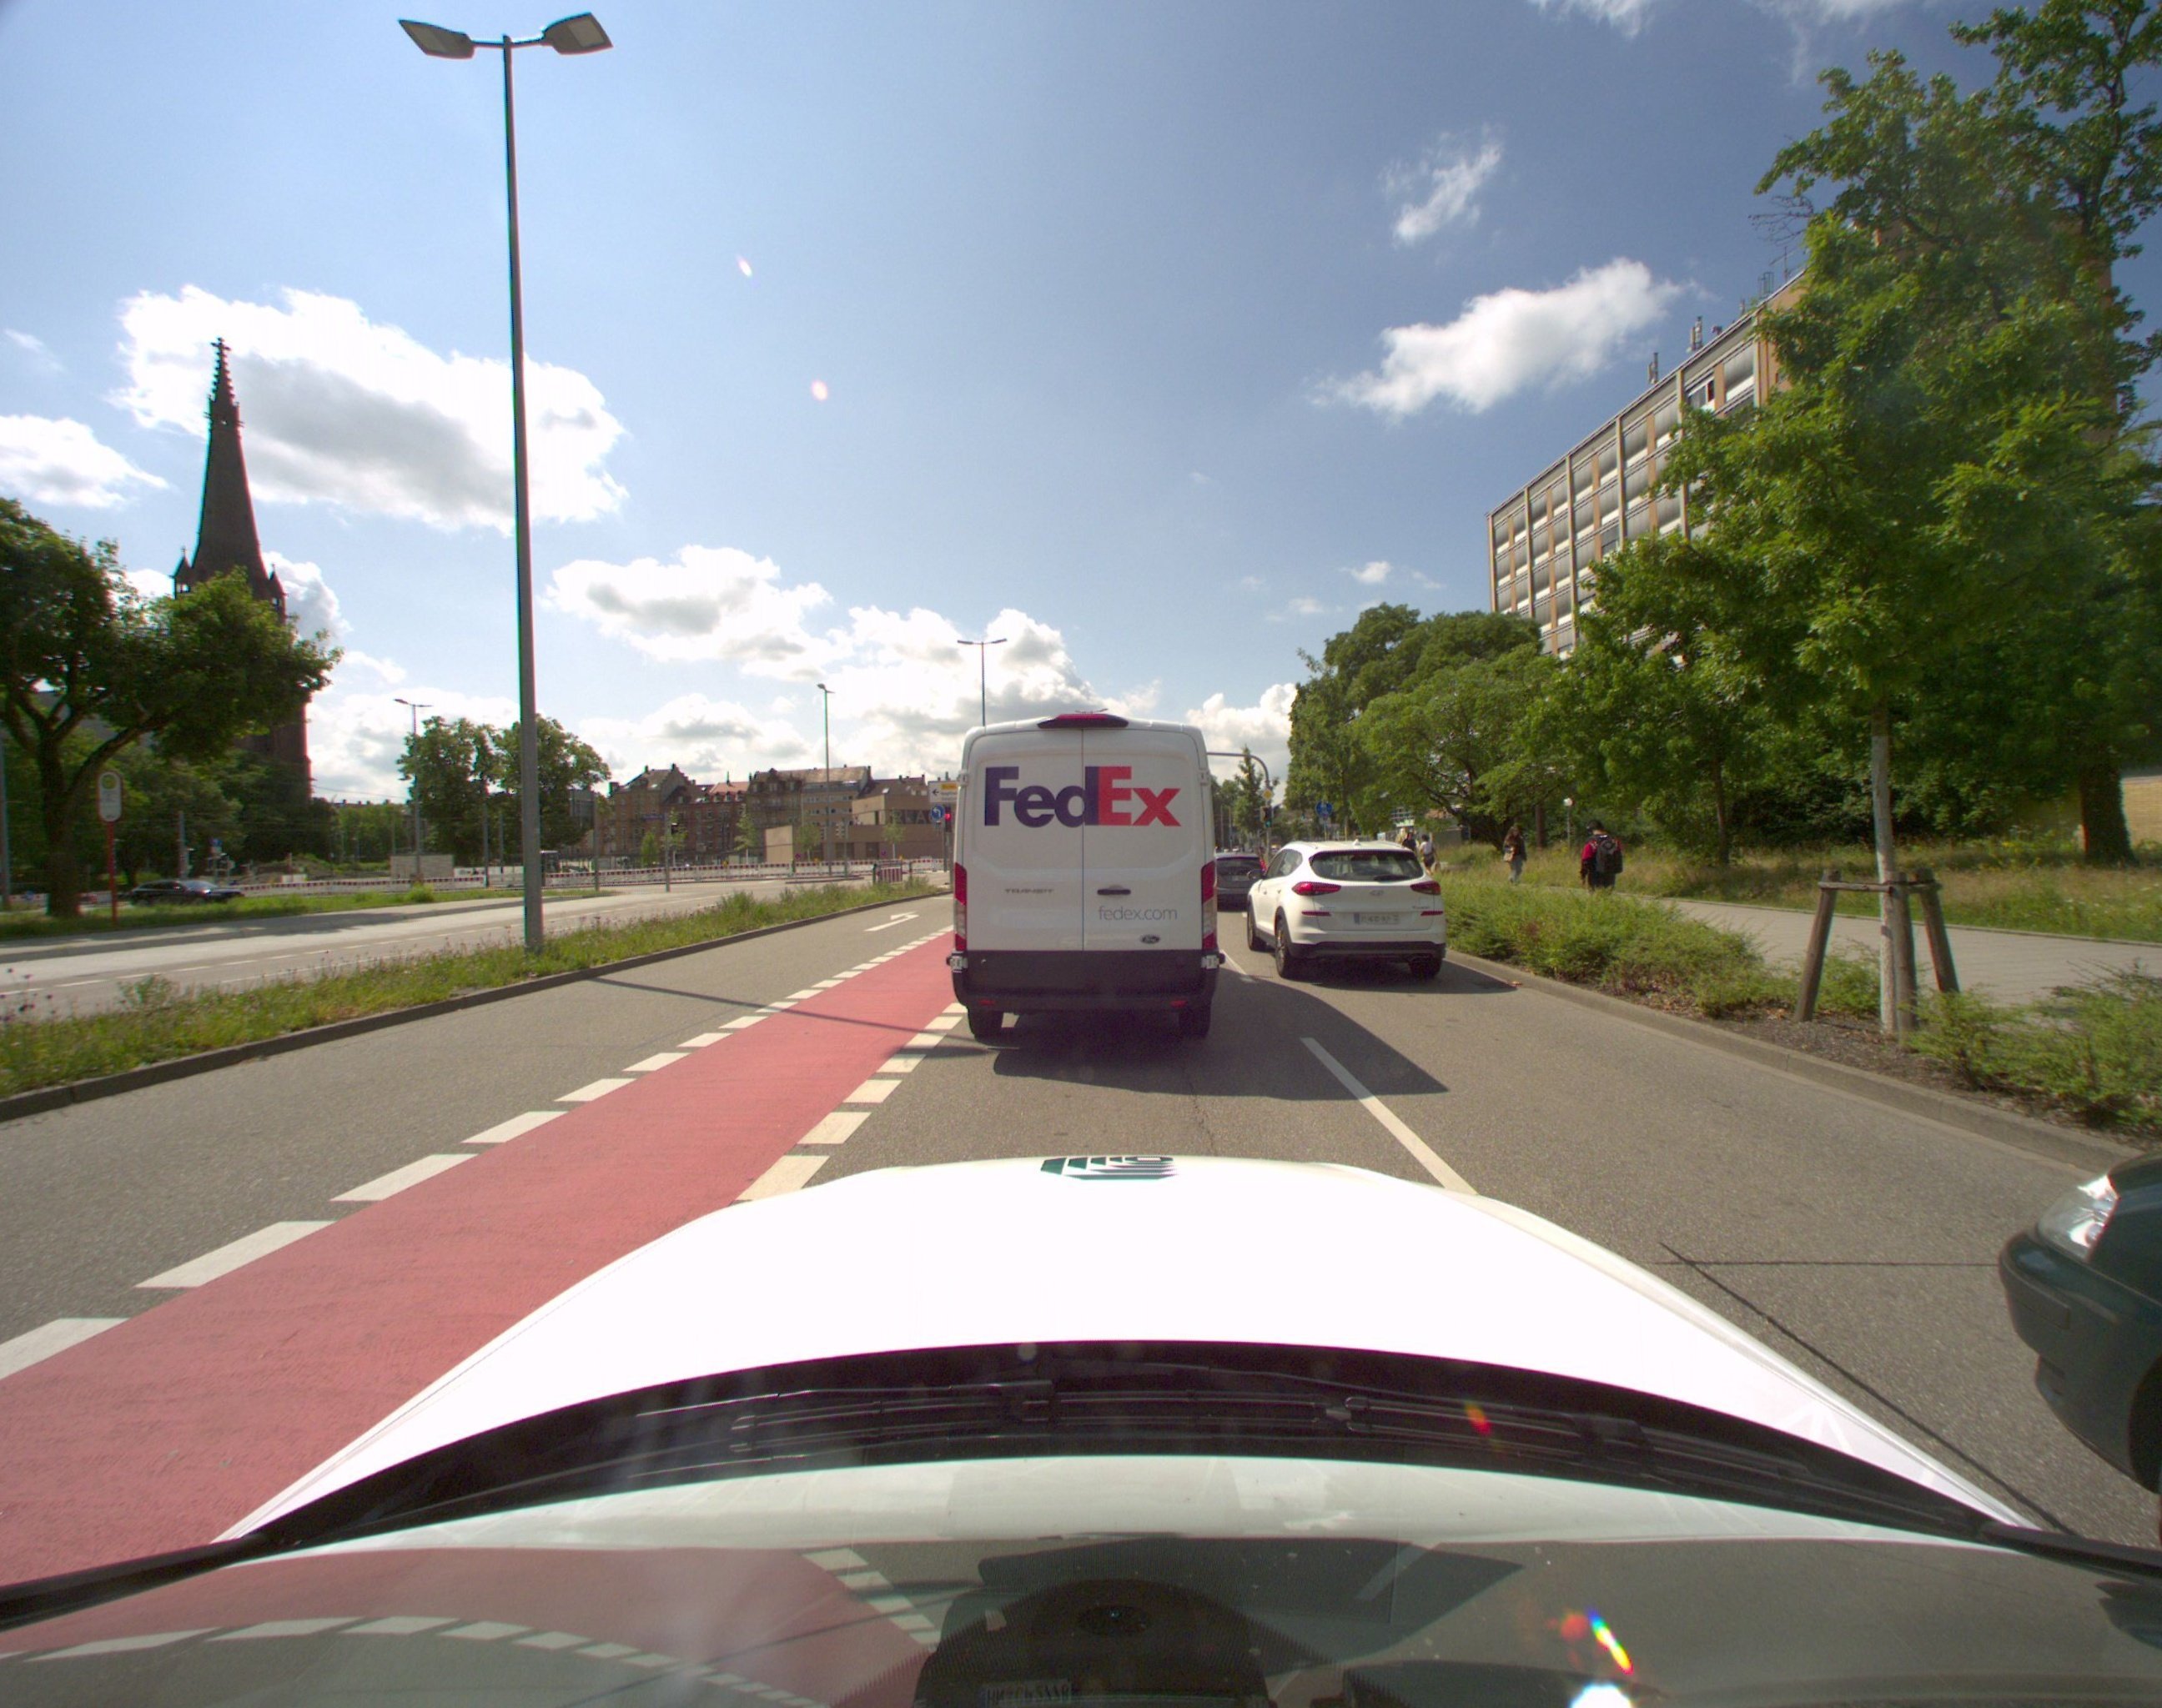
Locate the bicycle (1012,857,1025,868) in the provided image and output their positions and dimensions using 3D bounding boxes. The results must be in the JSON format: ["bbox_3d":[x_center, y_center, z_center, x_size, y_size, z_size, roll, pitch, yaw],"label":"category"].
[{"bbox_3d":[-5.548,0.748,72.646,0.772,0.889,2.111,-2,0,5],"label":"bicycle"}]

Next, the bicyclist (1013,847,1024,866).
[{"bbox_3d":[-5.568,0.237,72.650,0.772,1.618,0.844,-2,0,5],"label":"bicyclist"}]

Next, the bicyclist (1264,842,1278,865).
[{"bbox_3d":[13.698,-0.050,58.638,0.823,1.601,0.581,-4,-2,9],"label":"bicyclist"}]

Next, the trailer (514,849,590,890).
[{"bbox_3d":[-39.488,1.140,60.889,1.974,2.914,4.393,-1,-1,38],"label":"trailer"}]

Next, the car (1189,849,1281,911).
[{"bbox_3d":[3.979,0.620,21.663,1.906,1.420,3.922,-2,0,4],"label":"car"}]

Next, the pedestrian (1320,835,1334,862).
[{"bbox_3d":[16.903,-0.379,55.865,0.745,1.802,0.611,-3,0,8],"label":"pedestrian"}]

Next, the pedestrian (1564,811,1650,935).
[{"bbox_3d":[7.862,0.270,12.209,0.664,1.750,0.848,-3,0,1],"label":"pedestrian"}]

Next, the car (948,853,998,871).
[{"bbox_3d":[-9.027,0.656,68.225,1.974,1.508,4.042,-1,-1,32],"label":"car"}]

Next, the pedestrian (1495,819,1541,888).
[{"bbox_3d":[11.559,-0.006,21.558,0.664,1.750,0.878,-3,0,1],"label":"pedestrian"}]

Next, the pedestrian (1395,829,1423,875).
[{"bbox_3d":[12.823,-0.066,31.898,0.746,1.750,0.667,-3,0,1],"label":"pedestrian"}]

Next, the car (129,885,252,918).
[{"bbox_3d":[-48.839,2.590,44.726,4.480,1.486,2.001,-2,0,1],"label":"car"}]

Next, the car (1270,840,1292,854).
[{"bbox_3d":[25.813,-0.944,105.197,1.863,1.641,3.981,-2,0,27],"label":"car"}]

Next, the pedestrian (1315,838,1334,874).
[{"bbox_3d":[12.066,0.097,40.411,0.665,1.746,0.608,-3,0,-4],"label":"pedestrian"}]

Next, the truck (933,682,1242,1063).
[{"bbox_3d":[0.135,0.129,8.643,2.129,2.640,5.920,-1,0,2],"label":"truck"}]

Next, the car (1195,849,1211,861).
[{"bbox_3d":[20.304,0.139,135.447,1.977,2.014,4.143,-1,-1,19],"label":"car"}]

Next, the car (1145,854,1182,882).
[{"bbox_3d":[4.764,0.766,46.762,1.870,1.506,4.166,-1,0,9],"label":"car"}]

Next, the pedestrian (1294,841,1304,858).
[{"bbox_3d":[20.932,-0.454,78.175,0.752,1.589,0.762,0,-1,4],"label":"pedestrian"}]

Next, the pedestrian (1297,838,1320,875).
[{"bbox_3d":[11.215,0.120,40.186,0.748,1.777,0.880,-3,0,-4],"label":"pedestrian"}]

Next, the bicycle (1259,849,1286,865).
[{"bbox_3d":[13.786,0.228,58.621,1.799,1.050,0.593,-4,-2,8],"label":"bicycle"}]

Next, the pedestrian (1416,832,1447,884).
[{"bbox_3d":[11.281,0.127,26.214,0.664,1.596,0.648,-3,0,1],"label":"pedestrian"}]

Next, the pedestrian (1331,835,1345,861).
[{"bbox_3d":[17.713,-0.415,56.036,0.745,1.752,0.611,-3,0,8],"label":"pedestrian"}]

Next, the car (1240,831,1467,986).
[{"bbox_3d":[3.389,0.580,11.019,1.873,1.641,4.237,-2,0,4],"label":"car"}]

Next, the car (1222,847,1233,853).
[{"bbox_3d":[38.516,-1.116,214.237,1.976,1.574,4.201,-1,-1,23],"label":"car"}]
